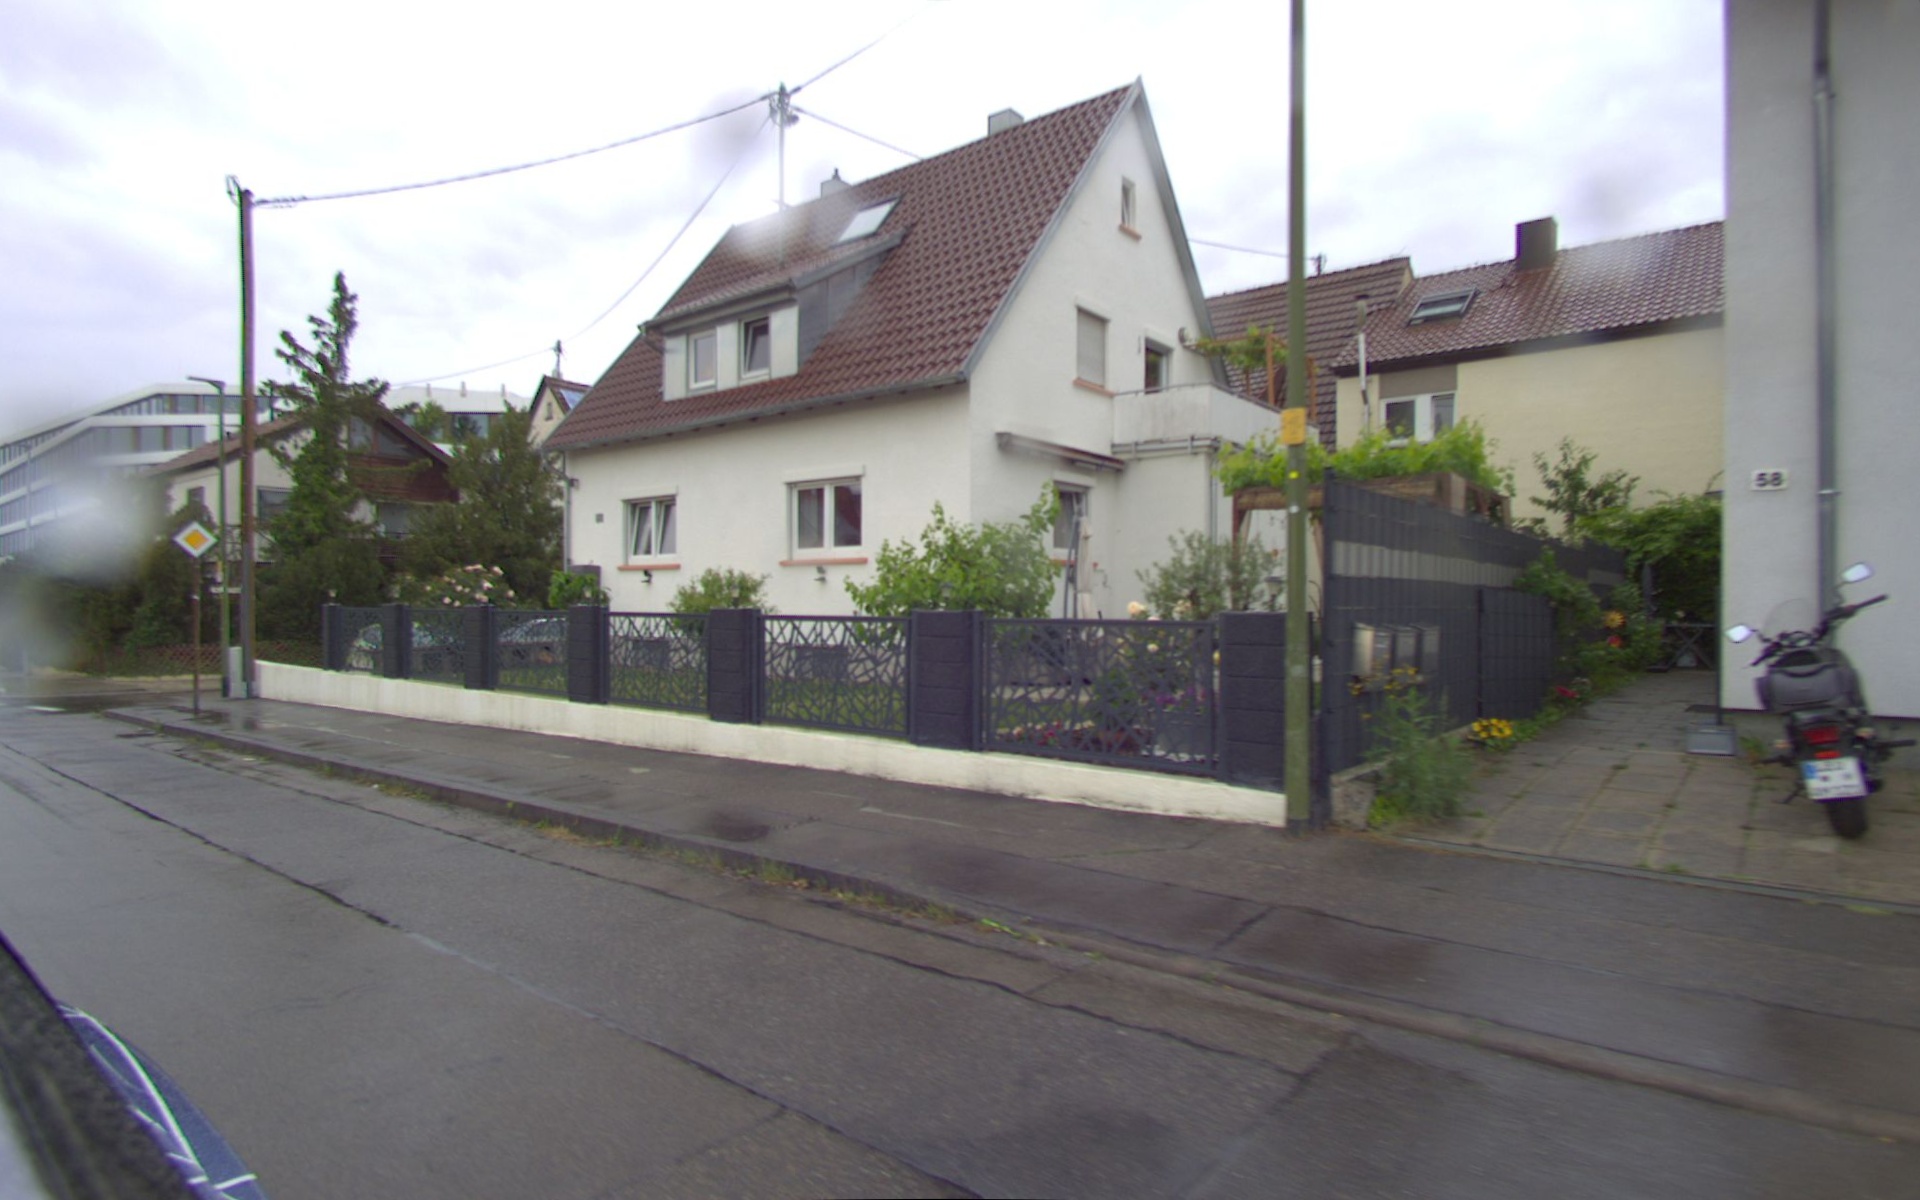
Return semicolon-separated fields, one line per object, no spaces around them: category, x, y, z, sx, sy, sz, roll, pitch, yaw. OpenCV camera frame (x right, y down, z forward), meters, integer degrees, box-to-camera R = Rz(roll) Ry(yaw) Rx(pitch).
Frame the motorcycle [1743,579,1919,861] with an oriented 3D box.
motorcycle;5.115;0.564;5.906;0.735;1.283;2.339;-2;1;40

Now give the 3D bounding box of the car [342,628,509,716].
car;-10.421;1.327;19.658;3.455;1.478;1.760;-1;0;41
